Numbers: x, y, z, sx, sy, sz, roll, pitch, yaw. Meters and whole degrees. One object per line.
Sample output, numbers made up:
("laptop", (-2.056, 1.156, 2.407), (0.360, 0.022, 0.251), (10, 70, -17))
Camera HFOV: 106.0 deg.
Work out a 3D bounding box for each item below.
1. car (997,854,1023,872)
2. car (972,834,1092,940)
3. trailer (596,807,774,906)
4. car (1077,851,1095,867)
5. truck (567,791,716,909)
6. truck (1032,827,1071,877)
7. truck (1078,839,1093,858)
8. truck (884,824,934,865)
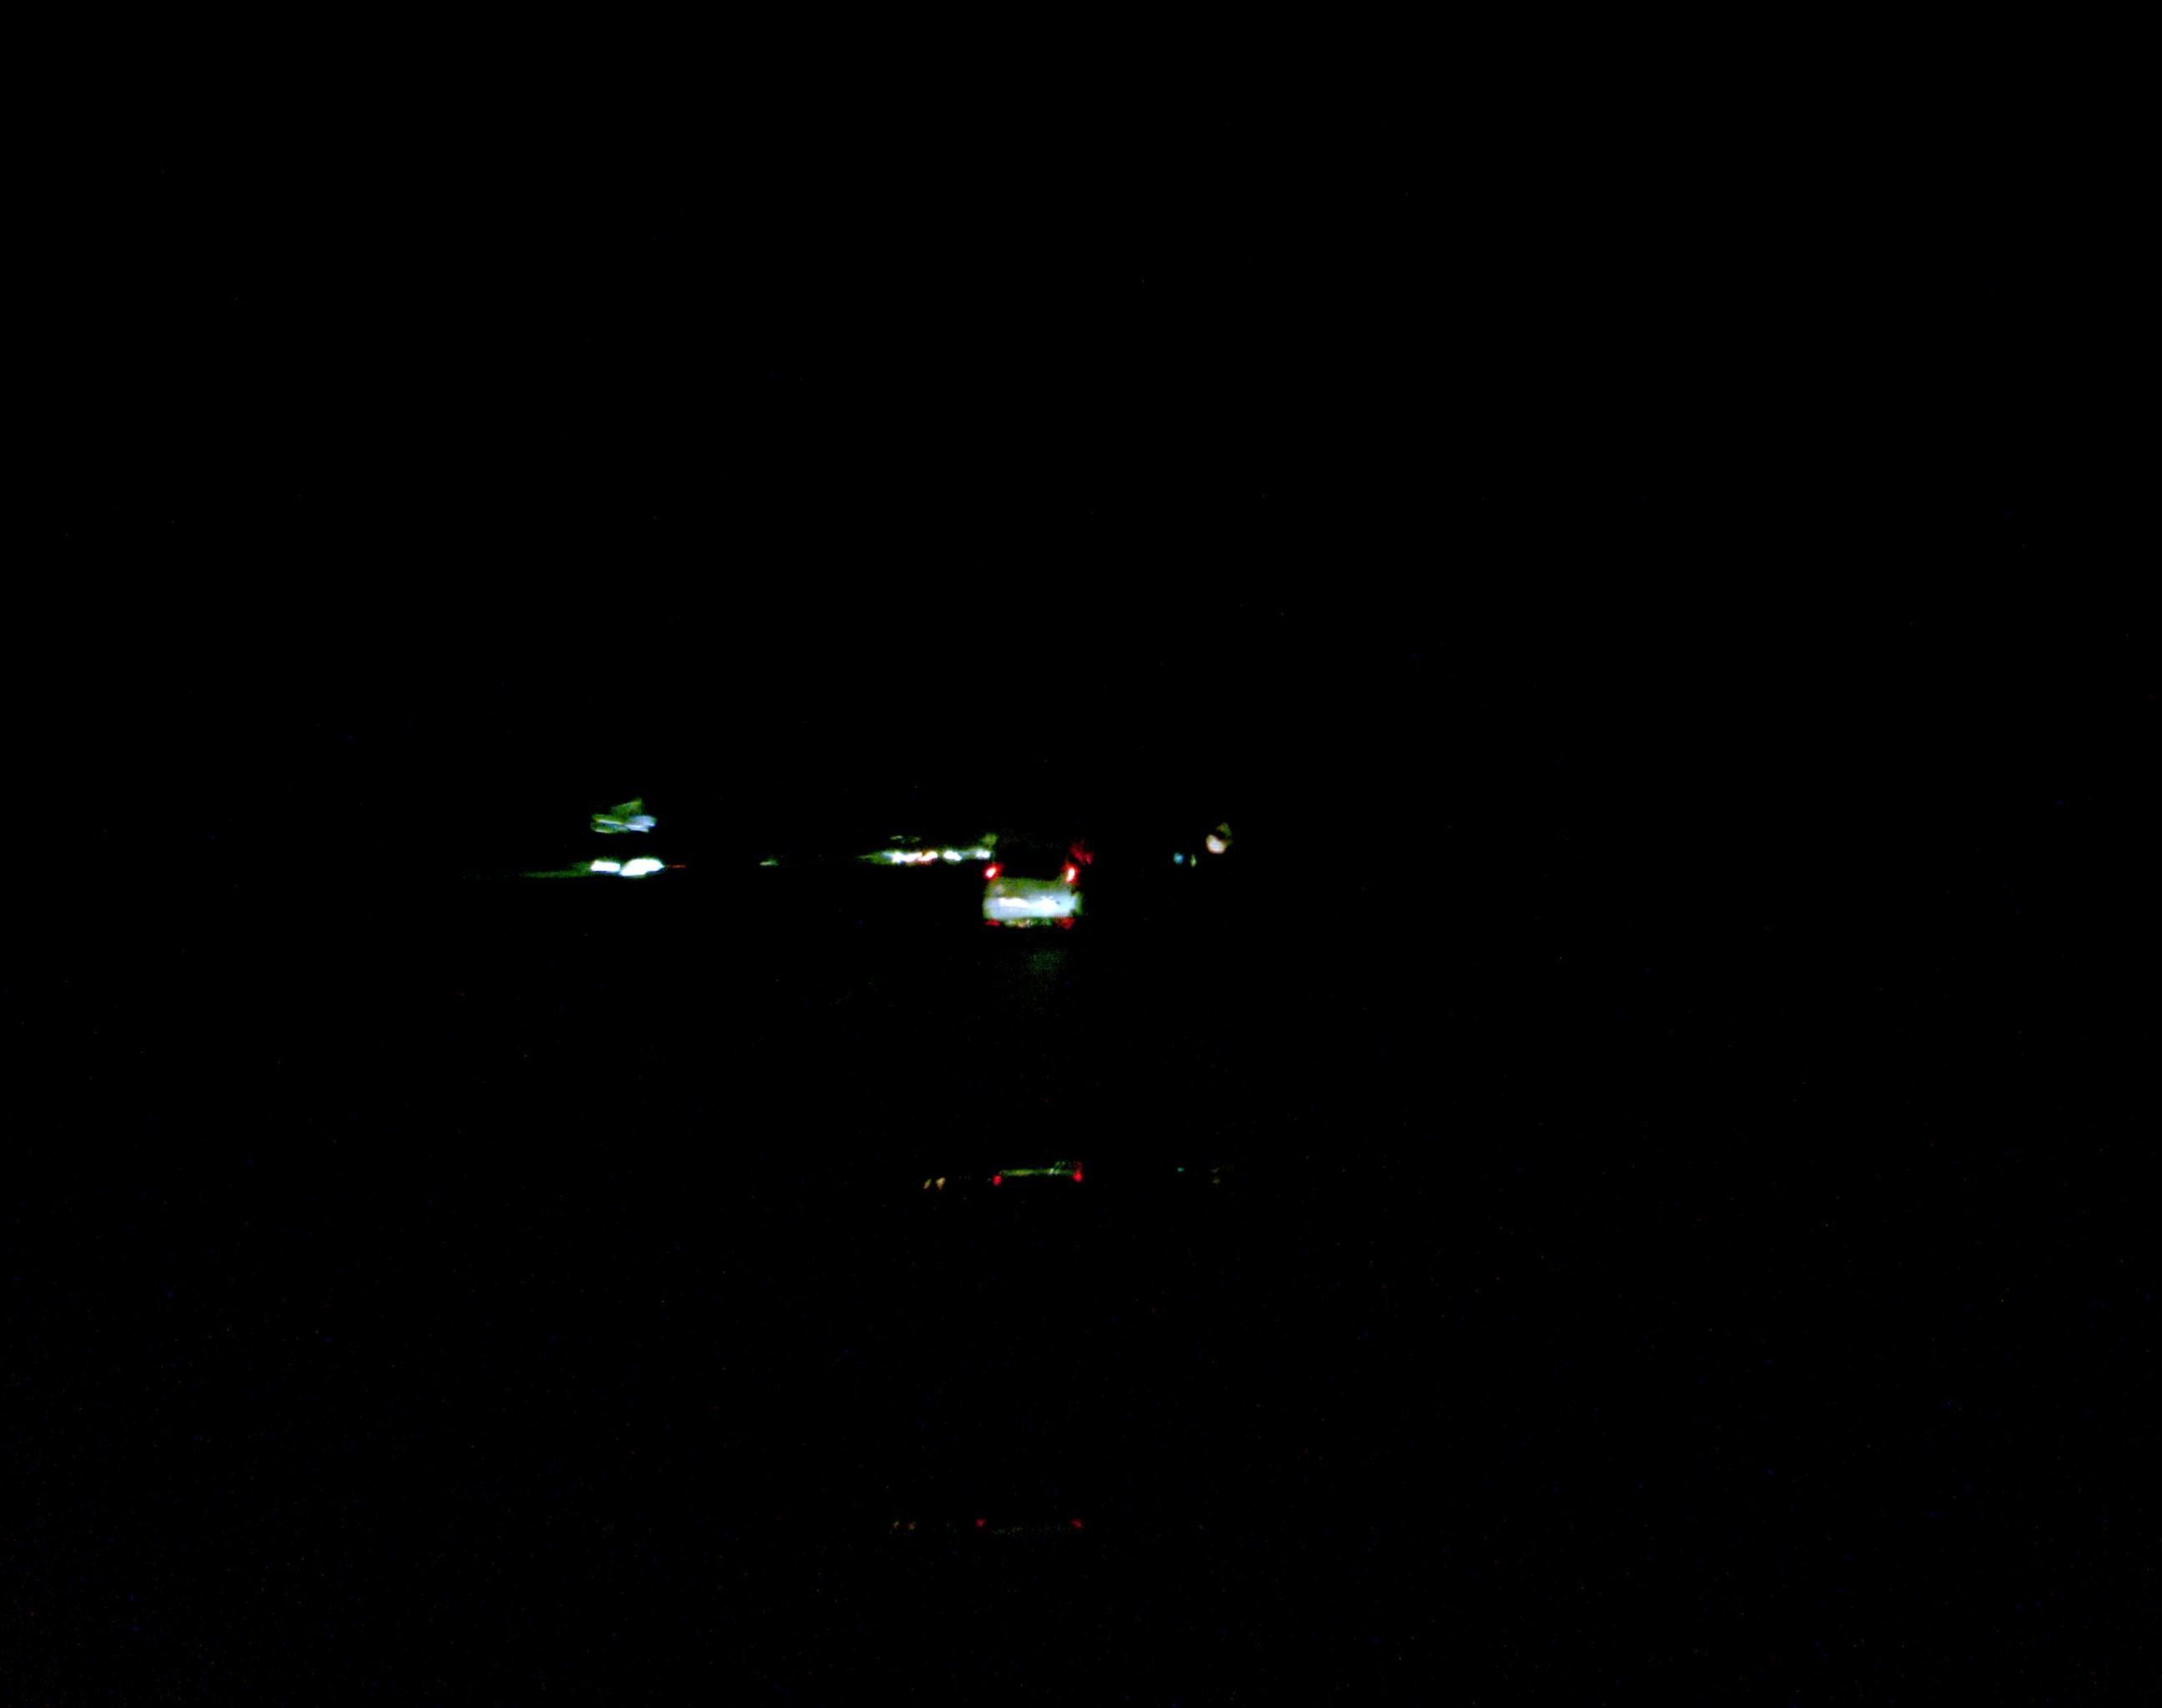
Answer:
("car", (-7.470, 0.916, 85.662), (1.985, 1.707, 4.200), (3, 0, 4))
("car", (-0.809, 0.583, 16.510), (1.946, 1.792, 5.126), (0, 0, 2))
("trailer", (-24.429, 0.176, 51.789), (4.151, 5.445, 13.752), (0, 0, 2))
("car", (0.535, 0.557, 93.225), (1.987, 1.707, 4.194), (0, 0, -1))
("truck", (-24.612, -0.173, 46.190), (4.151, 6.128, 7.348), (0, -1, 2))
("truck", (-3.307, -0.176, 96.493), (4.154, 5.544, 13.070), (0, 0, 0))
("truck", (1.078, -1.283, 217.700), (3.812, 4.915, 11.602), (1, 0, 0))
("truck", (-23.727, -1.293, 112.928), (4.327, 5.141, 11.026), (4, 0, -1))
